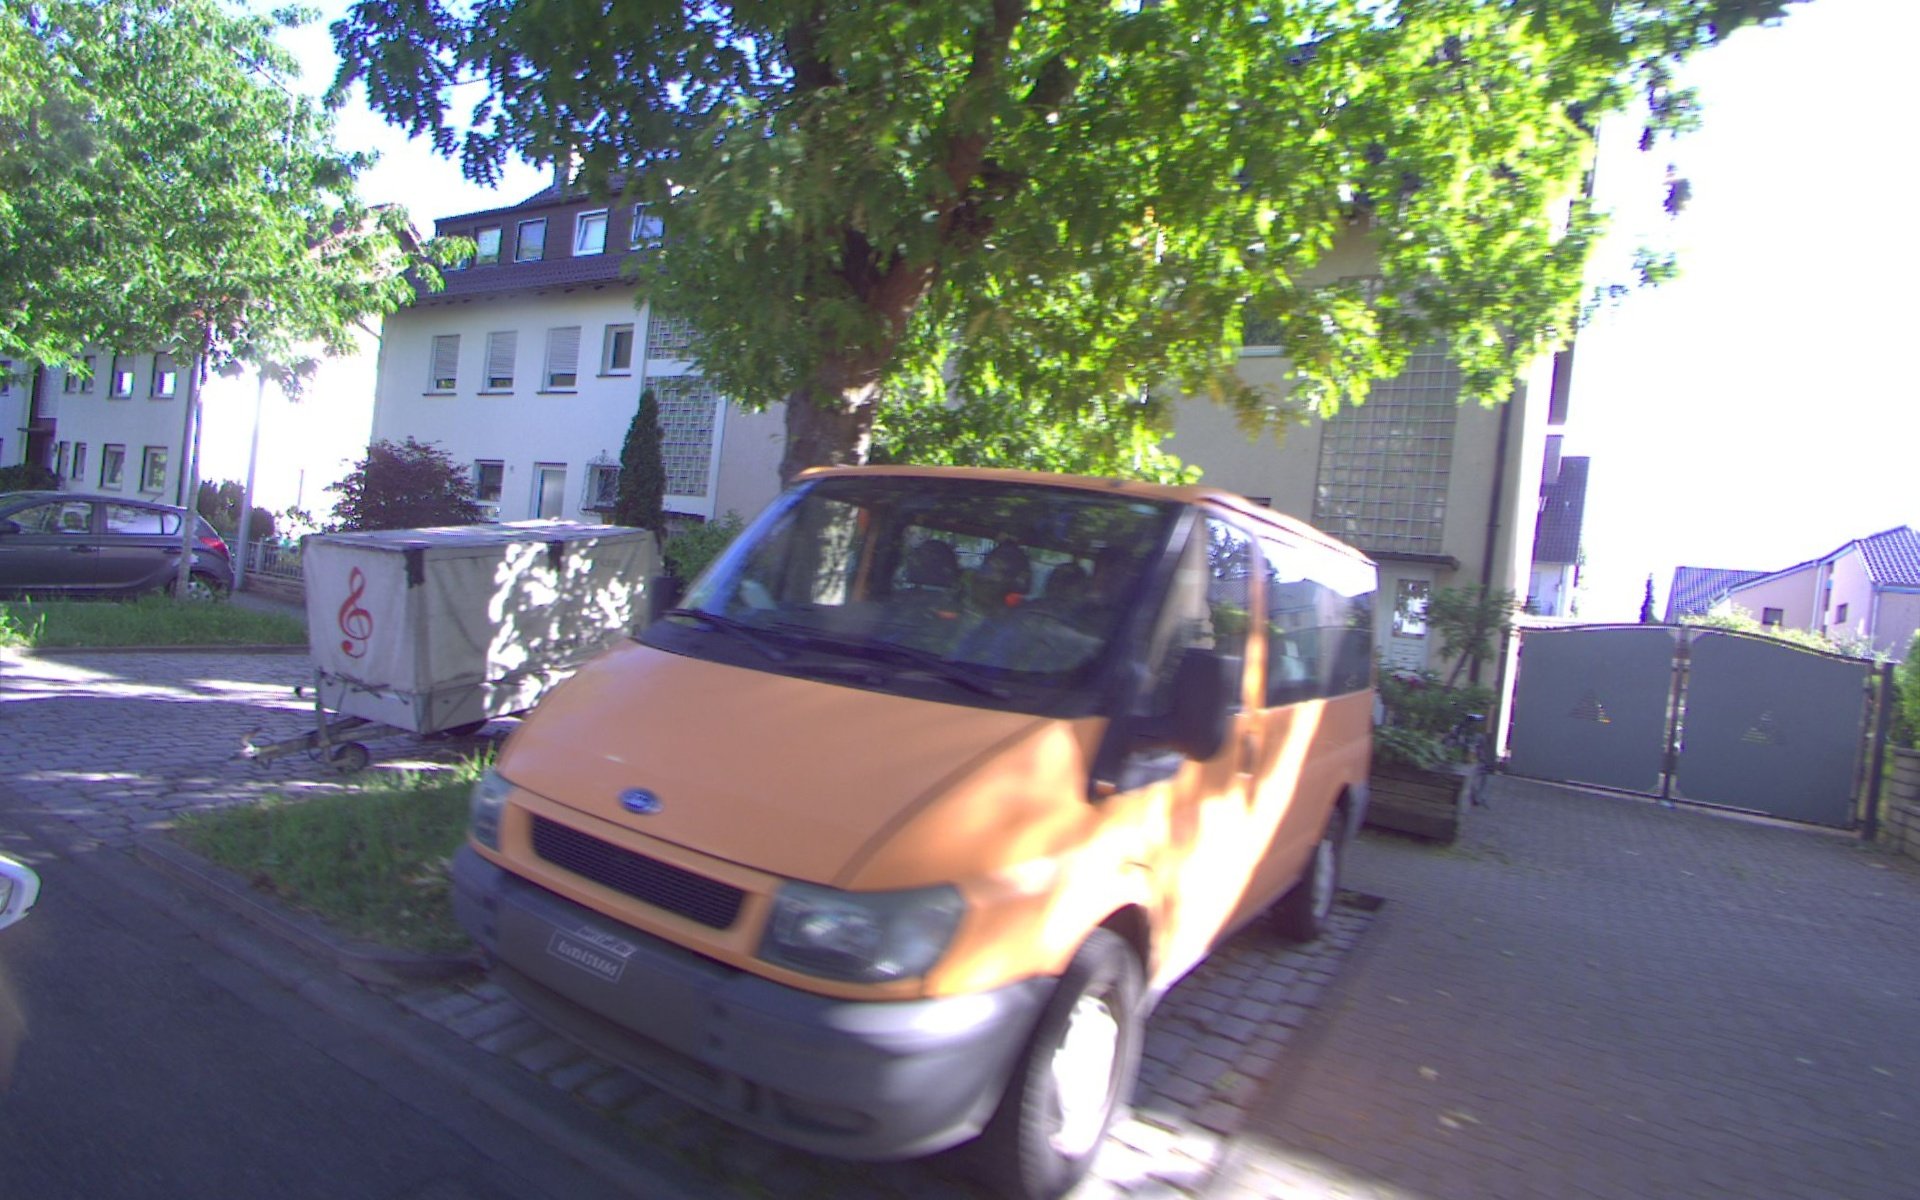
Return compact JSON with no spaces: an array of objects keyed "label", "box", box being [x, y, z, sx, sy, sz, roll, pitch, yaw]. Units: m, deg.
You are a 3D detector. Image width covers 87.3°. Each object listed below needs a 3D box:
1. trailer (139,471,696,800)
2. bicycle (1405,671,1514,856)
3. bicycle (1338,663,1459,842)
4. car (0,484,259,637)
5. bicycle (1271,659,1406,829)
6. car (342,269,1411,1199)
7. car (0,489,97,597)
[{"label":"trailer","box":[-3.485,0.186,6.955,1.586,1.686,2.950,6,1,26]},{"label":"bicycle","box":[4.308,1.269,8.557,0.460,1.253,2.860,6,1,32]},{"label":"bicycle","box":[3.909,1.220,8.818,0.460,1.253,2.859,6,1,32]},{"label":"car","box":[-11.263,-0.512,12.292,1.727,1.643,3.995,6,-1,28]},{"label":"bicycle","box":[3.473,1.179,9.040,0.460,1.253,2.860,7,1,32]},{"label":"car","box":[0.419,0.476,4.402,2.051,2.110,4.821,7,1,31]},{"label":"car","box":[-15.474,-1.009,14.759,1.633,1.534,3.887,6,-1,31]}]
